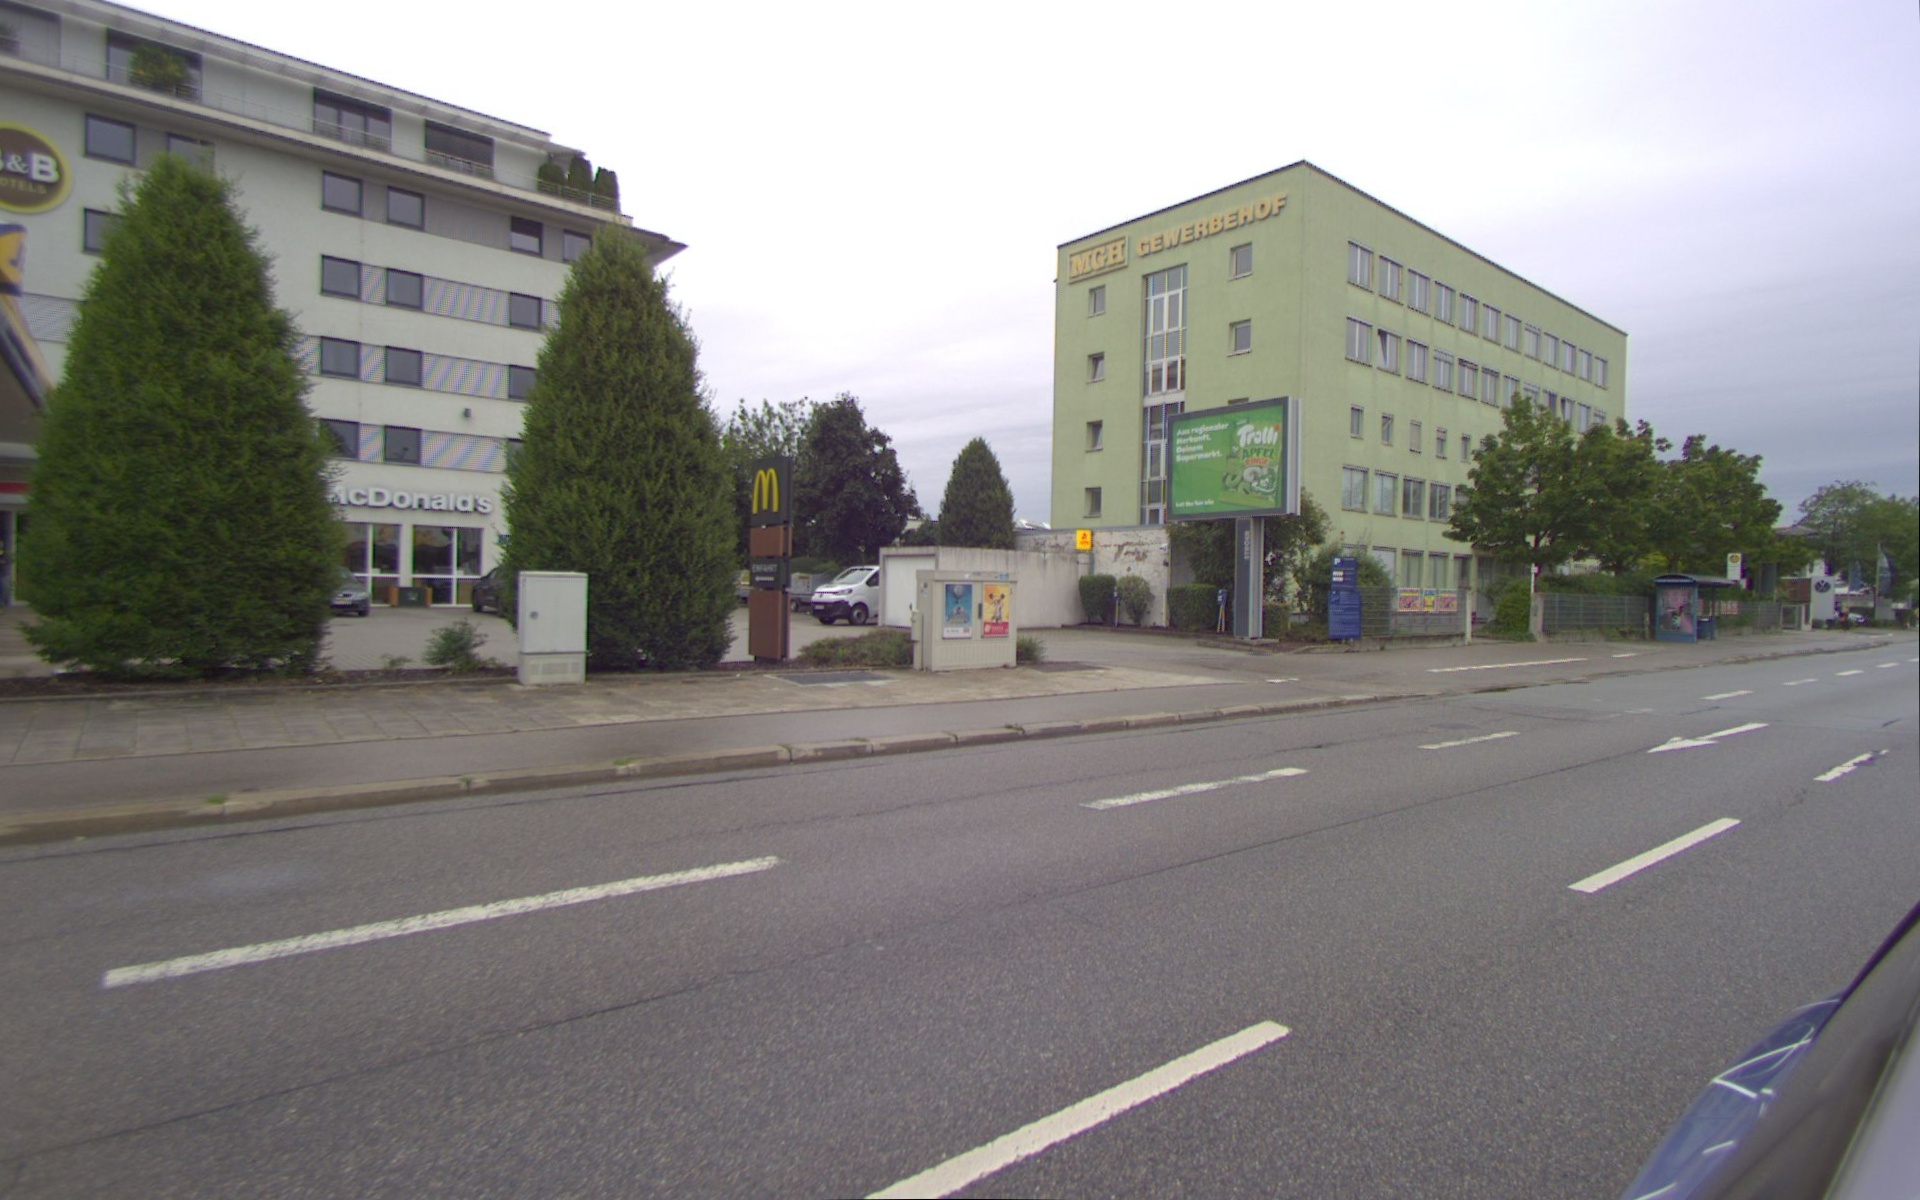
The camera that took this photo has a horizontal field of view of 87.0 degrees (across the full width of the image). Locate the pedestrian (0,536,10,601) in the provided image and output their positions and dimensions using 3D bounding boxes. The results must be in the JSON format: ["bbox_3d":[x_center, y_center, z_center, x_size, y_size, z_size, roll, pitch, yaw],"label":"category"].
[{"bbox_3d":[-26.131,-0.847,27.340,0.633,1.750,0.707,1,-1,-43],"label":"pedestrian"}]

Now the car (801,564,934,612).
[{"bbox_3d":[-2.952,-0.366,32.662,3.929,1.457,1.828,0,0,-40],"label":"car"}]

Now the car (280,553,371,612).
[{"bbox_3d":[-18.763,-0.516,29.845,1.676,1.607,3.994,1,1,-41],"label":"car"}]

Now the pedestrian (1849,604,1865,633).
[{"bbox_3d":[58.165,1.198,65.640,0.676,1.844,0.682,1,-1,-41],"label":"pedestrian"}]

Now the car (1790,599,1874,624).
[{"bbox_3d":[67.387,0.866,78.294,4.603,1.866,1.783,0,0,28],"label":"car"}]

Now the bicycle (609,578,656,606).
[{"bbox_3d":[-13.149,-0.307,40.684,0.447,1.130,1.847,0,0,41],"label":"bicycle"}]

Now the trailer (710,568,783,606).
[{"bbox_3d":[-9.714,-0.567,45.926,1.606,1.671,3.804,1,0,-40],"label":"trailer"}]

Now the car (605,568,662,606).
[{"bbox_3d":[-17.581,-0.683,54.364,1.690,1.967,3.998,1,0,-37],"label":"car"}]
